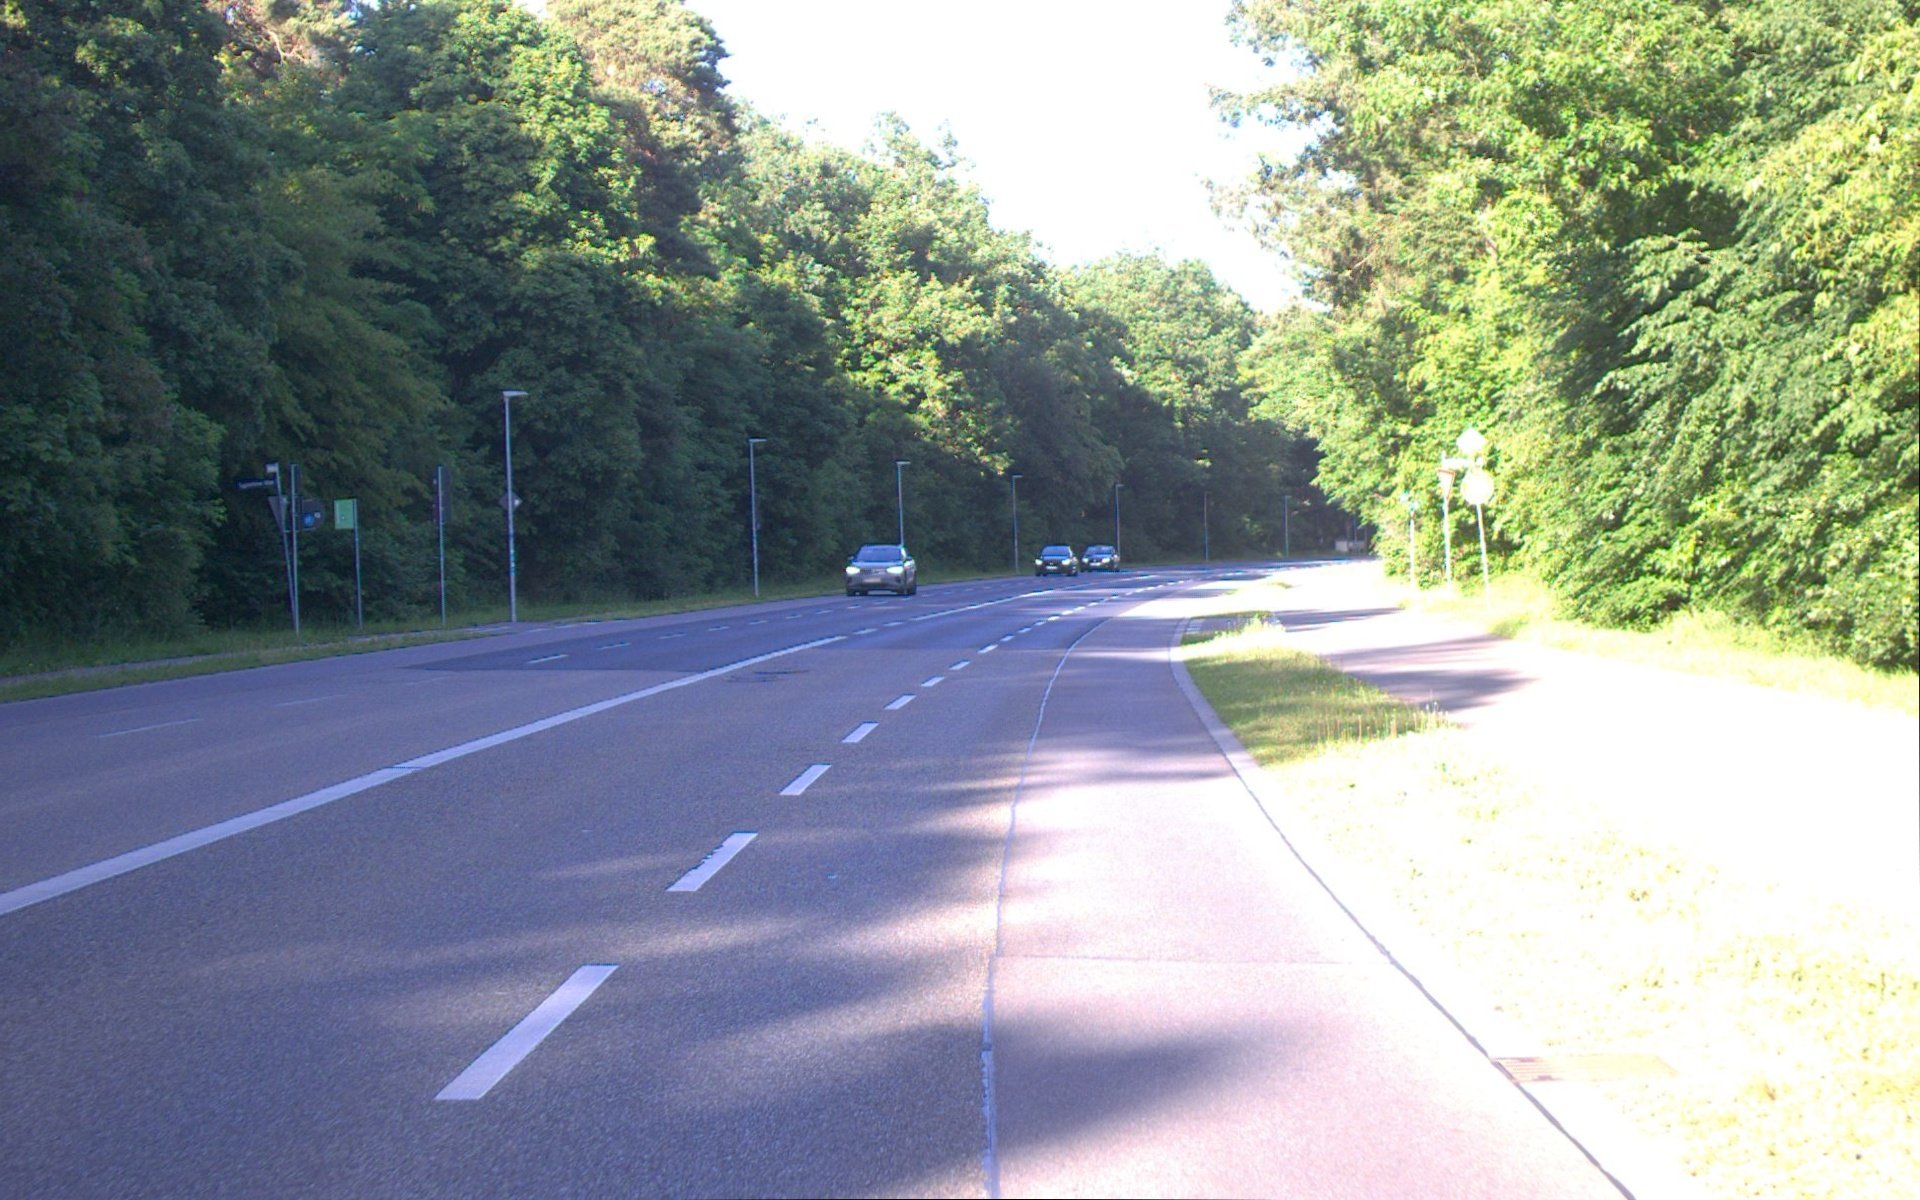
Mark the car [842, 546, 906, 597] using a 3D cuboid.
[{"bbox_3d":[-2.718,-0.891,108.939,1.993,1.579,4.000,0,0,-1],"label":"car"}]

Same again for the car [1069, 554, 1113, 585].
[{"bbox_3d":[7.049,-1.637,184.841,1.994,1.579,3.999,0,0,7],"label":"car"}]

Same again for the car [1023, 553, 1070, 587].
[{"bbox_3d":[4.169,-1.414,164.823,1.994,1.579,3.999,0,0,5],"label":"car"}]
